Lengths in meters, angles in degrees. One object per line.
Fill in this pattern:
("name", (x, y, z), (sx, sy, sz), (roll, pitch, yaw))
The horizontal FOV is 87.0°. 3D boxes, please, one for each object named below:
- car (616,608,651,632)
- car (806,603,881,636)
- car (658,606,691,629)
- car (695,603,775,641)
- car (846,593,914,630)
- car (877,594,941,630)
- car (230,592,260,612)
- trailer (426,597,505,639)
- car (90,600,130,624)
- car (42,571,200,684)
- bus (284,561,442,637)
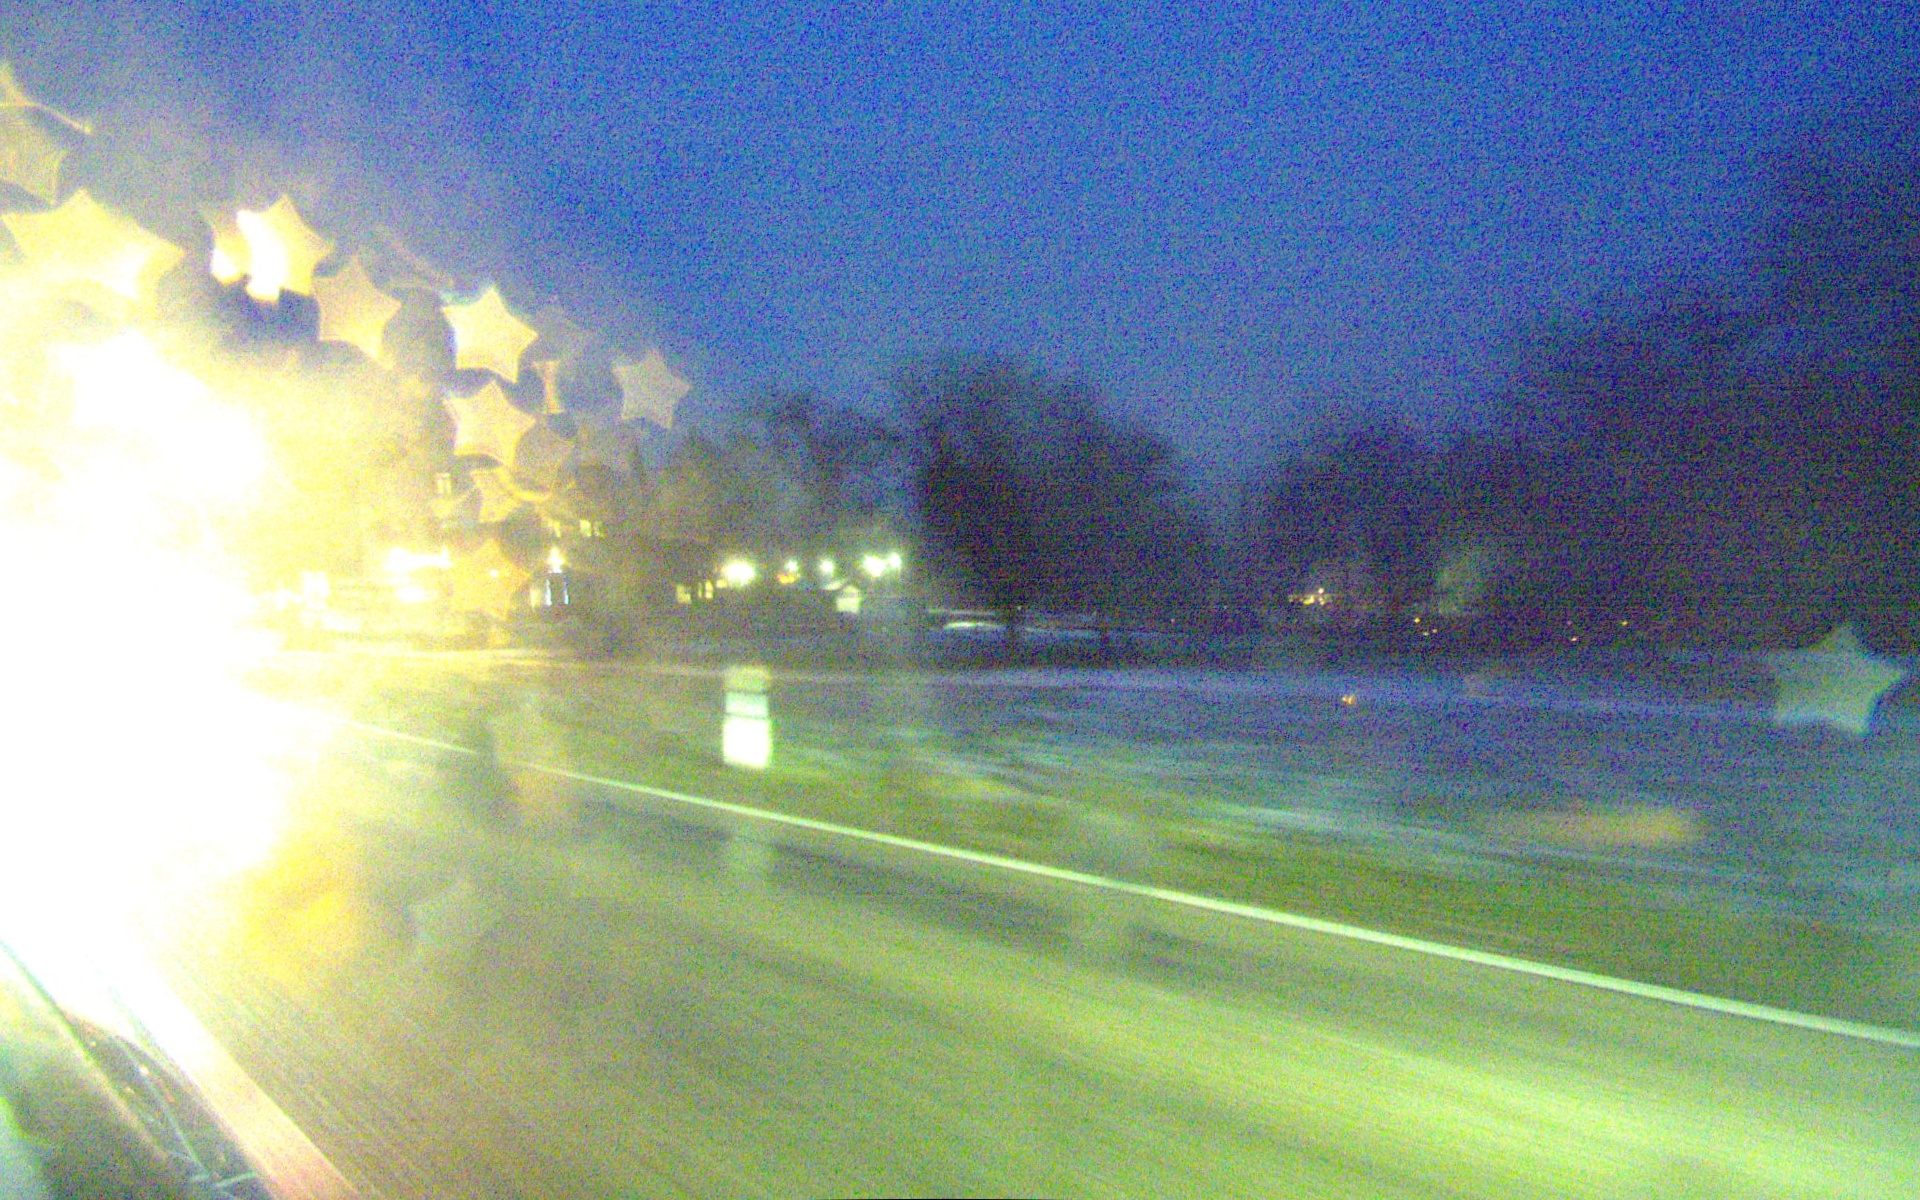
("car", (-24.462, 1.508, 76.018), (1.831, 1.408, 4.048), (3, 2, -9))
("car", (-7.184, 1.144, 62.040), (4.624, 1.709, 1.917), (3, 4, 40))
("car", (-21.446, 1.291, 76.064), (1.831, 1.408, 4.048), (3, 2, -9))
("car", (-12.408, 1.165, 55.684), (4.624, 1.709, 1.917), (3, 4, 40))
("car", (-5.090, 0.714, 64.041), (3.994, 2.071, 1.975), (3, 4, 37))
("car", (-3.305, 0.724, 65.705), (3.994, 2.071, 1.743), (3, 4, 37))
("car", (-60.994, 0.167, 86.346), (1.672, 1.611, 3.813), (0, 1, -29))
("trailer", (-21.294, 0.768, 43.491), (1.792, 1.690, 4.103), (3, -2, -45))
("car", (-55.128, 0.740, 65.693), (1.565, 1.302, 3.379), (-2, 3, -34))
("car", (-17.407, 0.540, 20.899), (4.847, 2.029, 1.971), (-2, 1, 44))
("bus", (-34.008, -0.200, 57.321), (13.036, 3.897, 2.867), (1, 2, 37))
